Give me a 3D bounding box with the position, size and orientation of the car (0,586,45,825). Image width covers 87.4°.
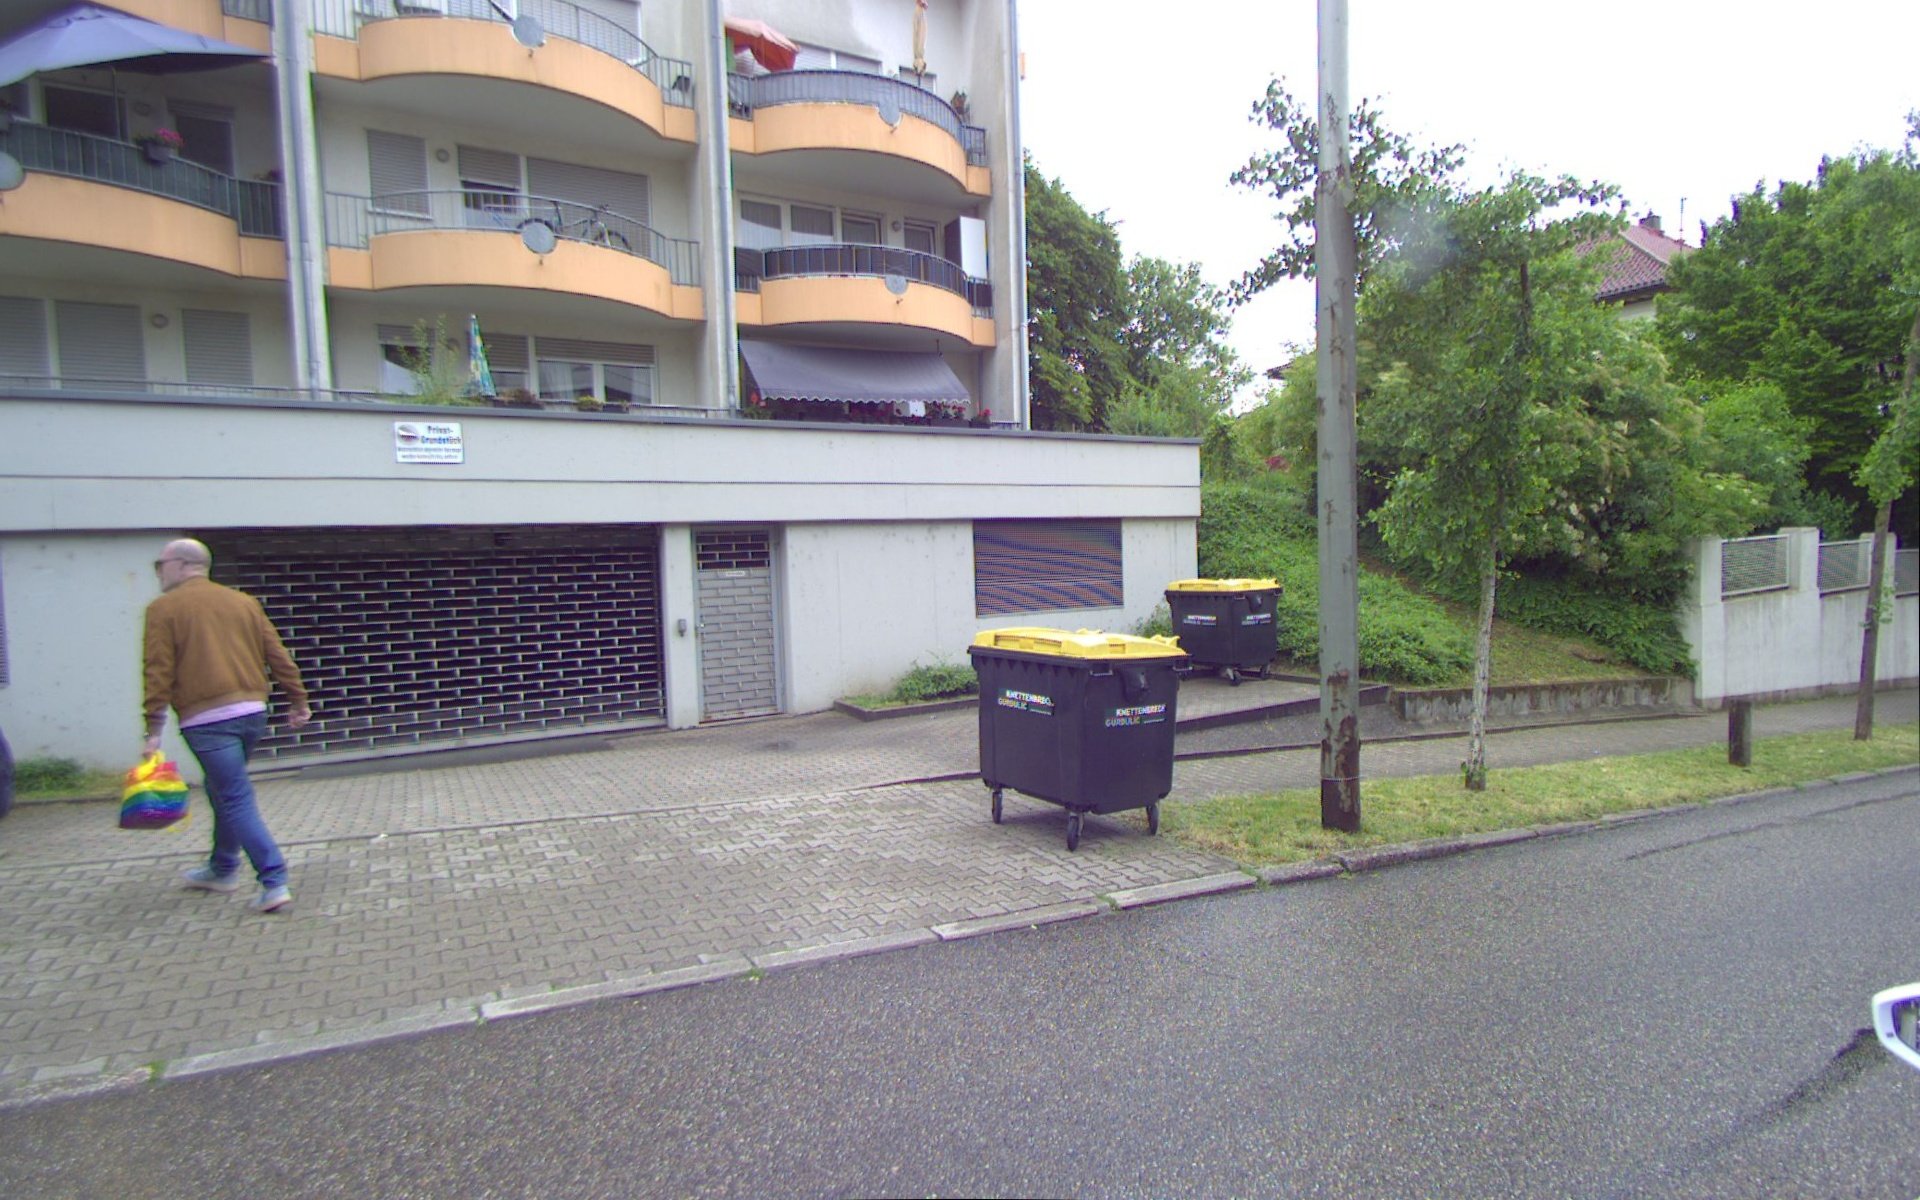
[{"bbox_3d":[-8.124,0.671,5.655,4.050,1.582,1.770,1,-4,-31],"label":"car"}]

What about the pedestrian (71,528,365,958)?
[{"bbox_3d":[-3.590,0.586,4.864,1.055,1.806,0.822,4,2,34],"label":"pedestrian"}]

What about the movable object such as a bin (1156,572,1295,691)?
[{"bbox_3d":[3.542,0.373,13.406,1.215,1.383,1.289,-7,6,-36],"label":"movable object such as a bin"}]

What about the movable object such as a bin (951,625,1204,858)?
[{"bbox_3d":[0.783,0.873,6.885,1.145,1.324,1.288,0,2,-38],"label":"movable object such as a bin"}]
